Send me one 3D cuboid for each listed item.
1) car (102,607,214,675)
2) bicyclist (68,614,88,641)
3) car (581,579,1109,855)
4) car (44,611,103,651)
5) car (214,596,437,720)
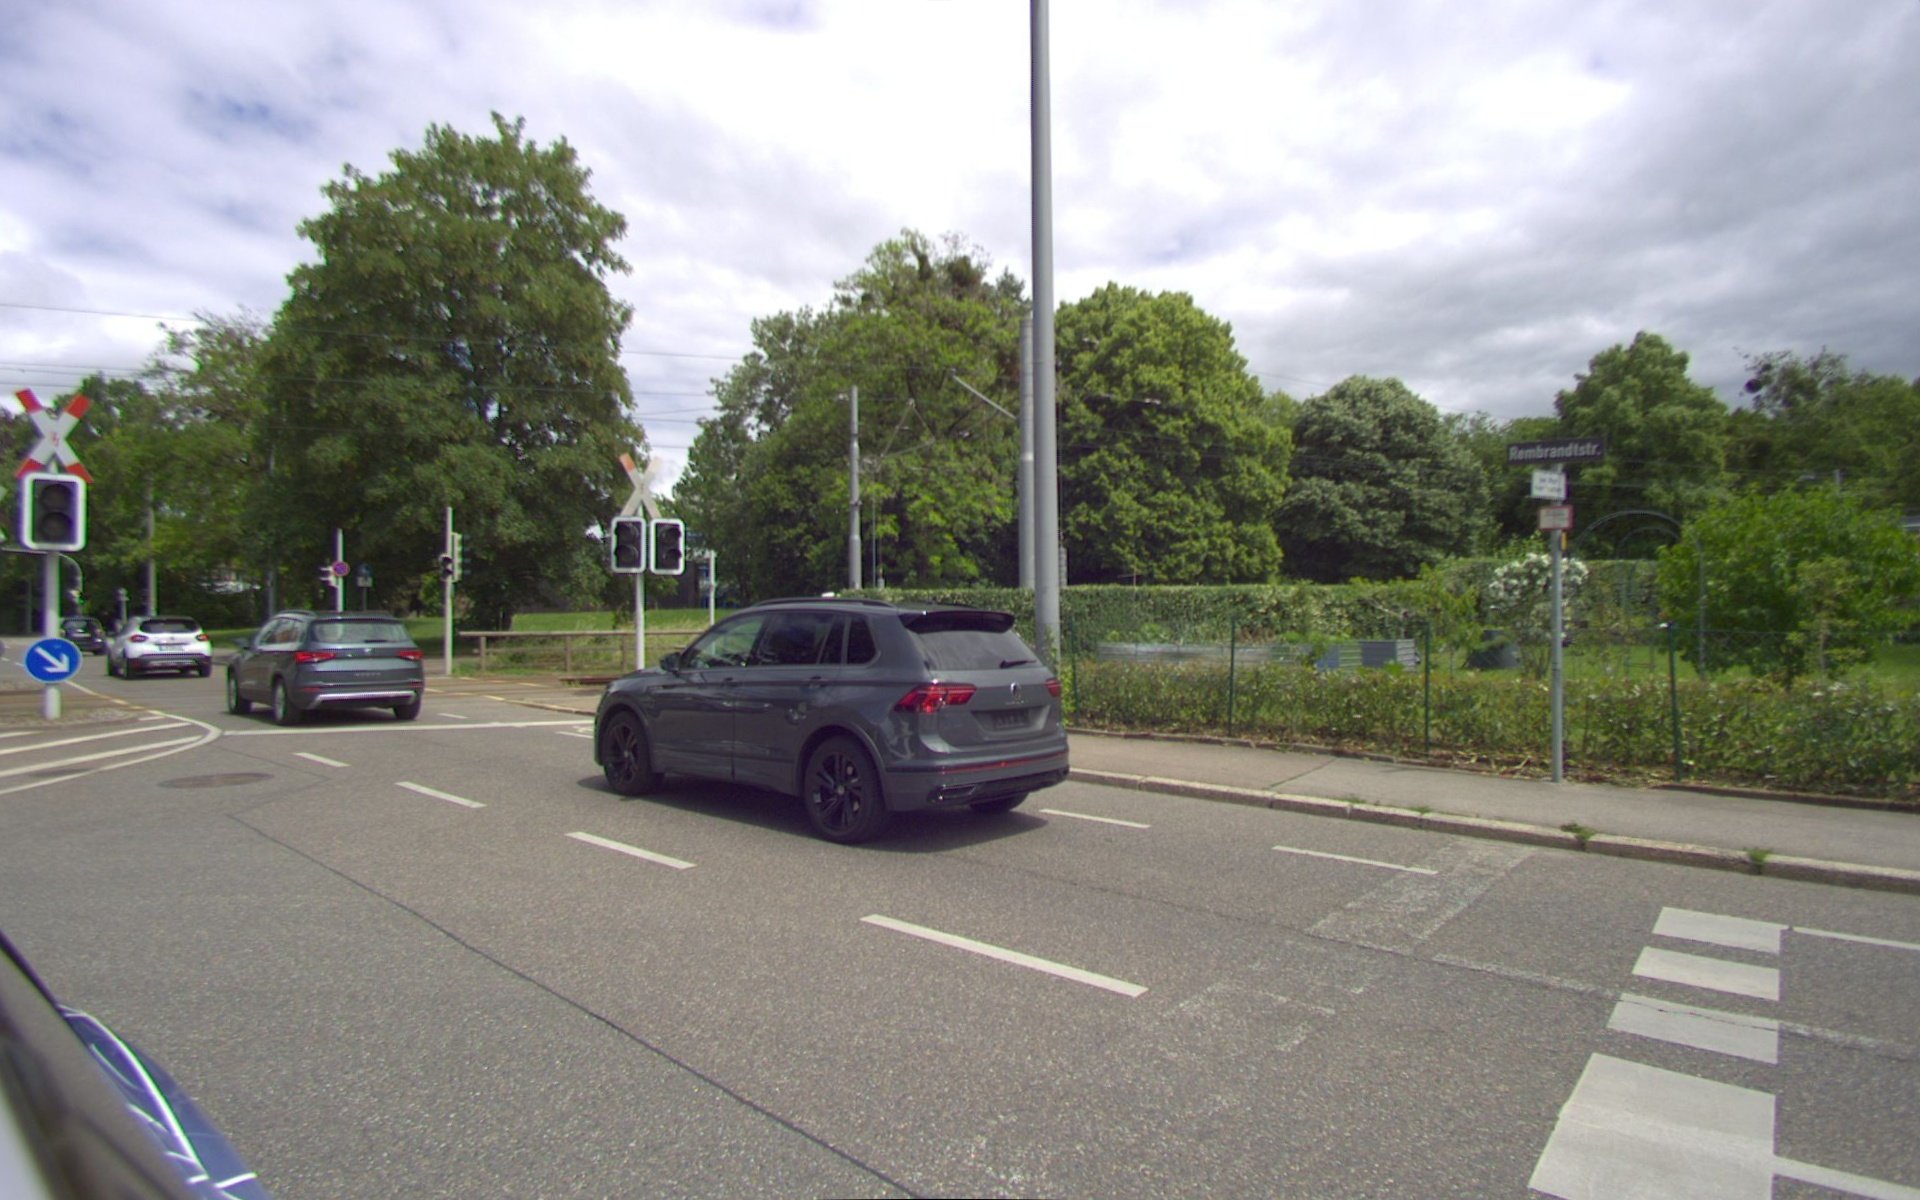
[{"bbox_3d":[-20.721,1.029,26.096,4.040,1.615,1.755,-1,-2,44],"label":"car"},{"bbox_3d":[-53.165,1.660,61.016,0.772,1.620,0.796,-1,0,42],"label":"bicyclist"},{"bbox_3d":[-1.074,0.745,7.979,4.166,1.615,1.757,-1,-3,40],"label":"car"},{"bbox_3d":[-35.170,1.231,40.135,2.789,1.521,1.557,-2,-2,45],"label":"car"},{"bbox_3d":[-9.621,0.821,15.228,4.037,1.615,1.756,-1,-3,42],"label":"car"}]
